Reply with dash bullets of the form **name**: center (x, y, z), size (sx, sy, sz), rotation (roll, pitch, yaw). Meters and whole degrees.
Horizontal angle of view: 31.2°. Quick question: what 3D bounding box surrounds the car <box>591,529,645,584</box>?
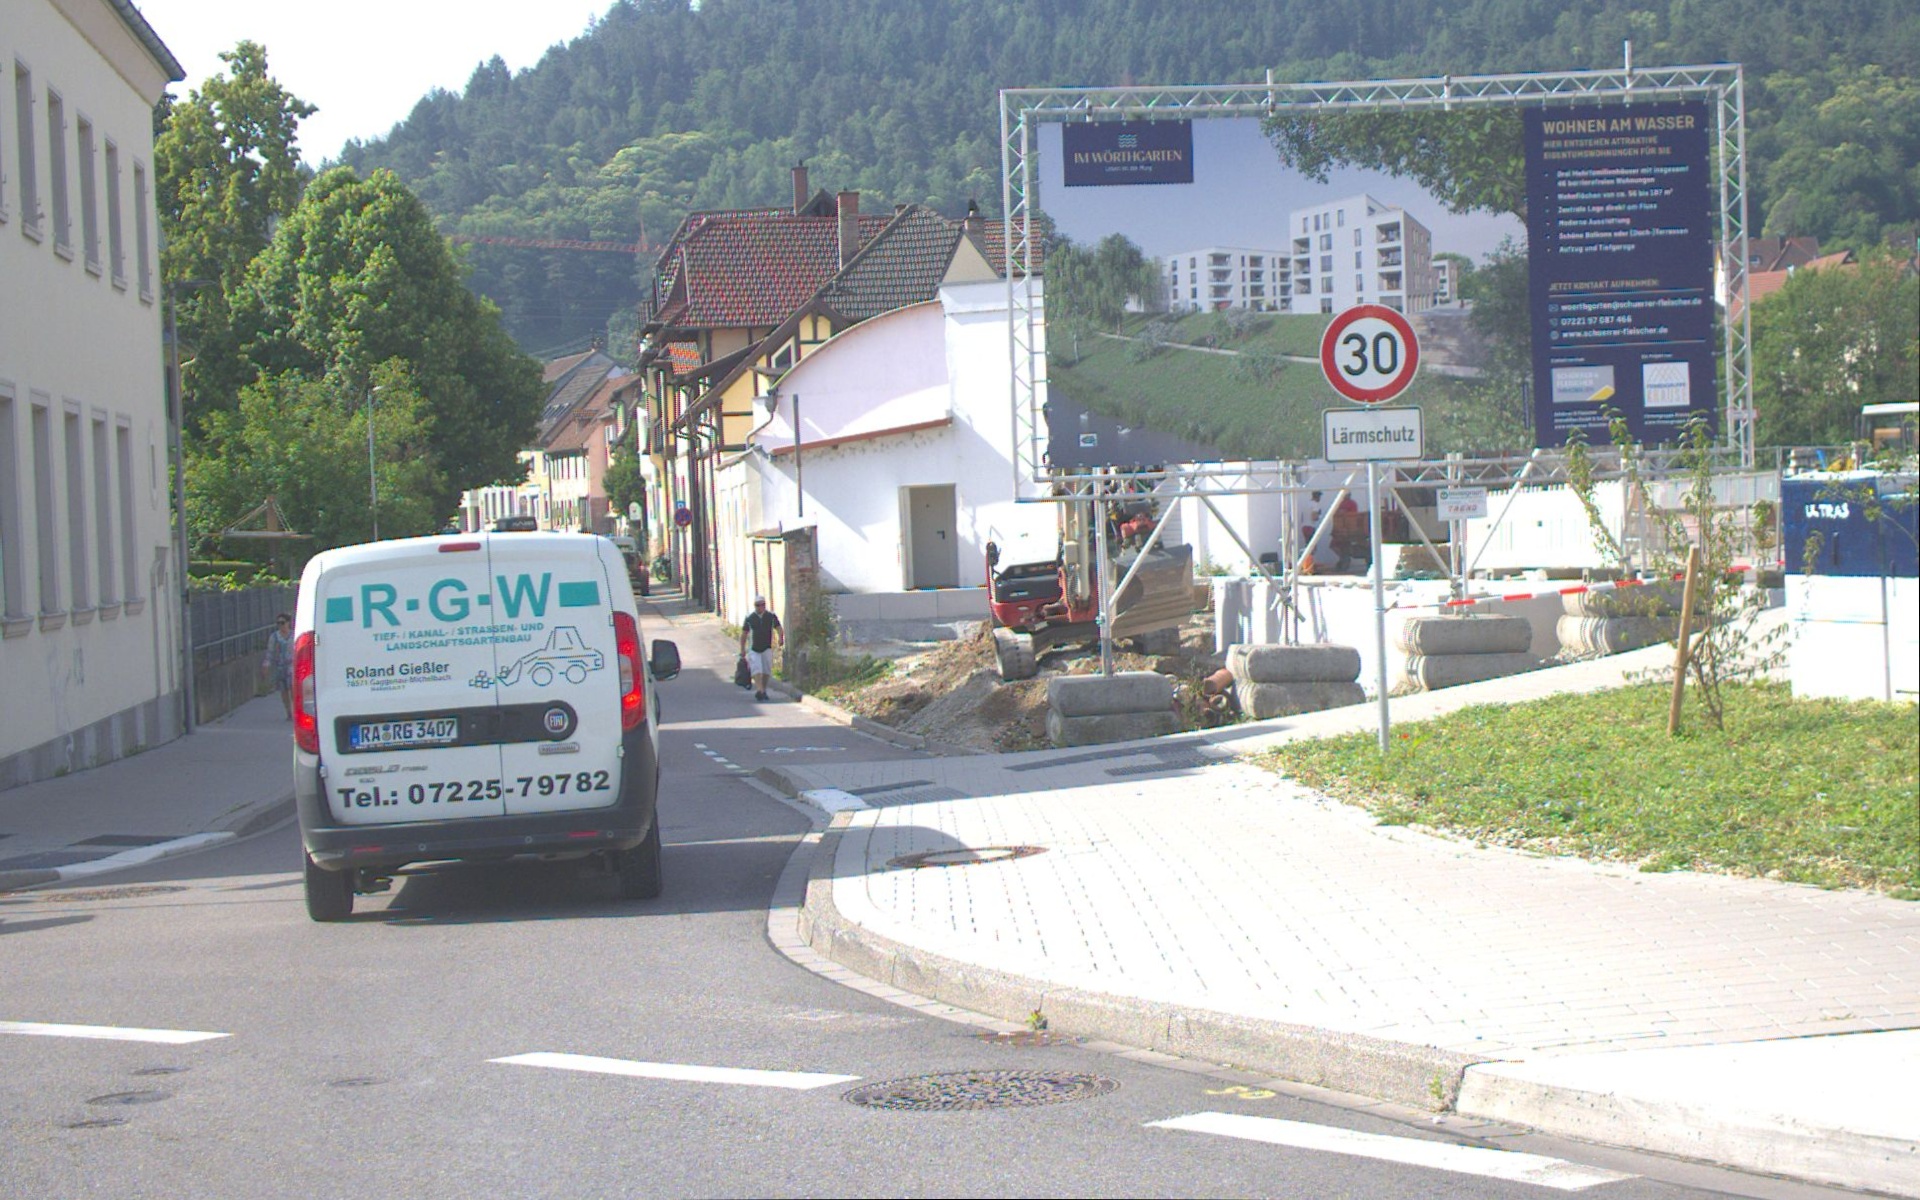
- **car**: center (-13.196, -1.707, 132.641), size (1.871, 2.006, 4.001), rotation (-2, 2, -7)

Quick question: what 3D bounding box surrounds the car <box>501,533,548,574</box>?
- **car**: center (-17.815, -1.924, 140.478), size (1.810, 1.591, 3.928), rotation (0, 2, -8)

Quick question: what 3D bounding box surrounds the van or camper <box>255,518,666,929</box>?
- **van or camper**: center (-2.553, 0.603, 18.340), size (1.828, 1.838, 4.189), rotation (-3, 0, -5)

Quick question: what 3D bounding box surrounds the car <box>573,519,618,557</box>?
- **car**: center (-15.787, -2.695, 148.860), size (1.669, 1.503, 4.001), rotation (-3, 2, -9)

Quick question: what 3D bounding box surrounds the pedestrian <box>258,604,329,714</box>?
- **pedestrian**: center (-10.135, 0.896, 52.325), size (0.957, 1.625, 0.758), rotation (-2, 1, -7)

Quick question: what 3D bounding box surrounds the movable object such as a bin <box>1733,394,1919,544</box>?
- **movable object such as a bin**: center (17.079, -2.499, 64.671), size (4.616, 2.560, 1.924), rotation (-4, 1, 19)

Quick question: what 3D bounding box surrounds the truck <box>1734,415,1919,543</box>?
- **truck**: center (18.172, -2.445, 67.852), size (5.319, 2.258, 2.217), rotation (-4, 1, 19)

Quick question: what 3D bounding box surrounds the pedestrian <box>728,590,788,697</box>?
- **pedestrian**: center (-3.218, 0.683, 54.834), size (0.888, 1.677, 0.718), rotation (-1, 0, -7)

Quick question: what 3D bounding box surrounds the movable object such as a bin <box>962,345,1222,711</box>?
- **movable object such as a bin**: center (1.393, -0.818, 40.037), size (2.295, 3.841, 7.799), rotation (0, 1, -3)

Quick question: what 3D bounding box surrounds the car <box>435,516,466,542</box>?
- **car**: center (-32.601, -4.548, 219.909), size (1.810, 1.591, 3.928), rotation (-1, 2, -11)

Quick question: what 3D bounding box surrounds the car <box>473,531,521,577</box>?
- **car**: center (-30.732, -3.045, 228.107), size (2.874, 2.826, 6.126), rotation (-3, 2, -9)

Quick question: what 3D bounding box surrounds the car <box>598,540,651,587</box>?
- **car**: center (-11.984, -1.303, 122.635), size (1.810, 1.591, 3.928), rotation (0, 2, -7)

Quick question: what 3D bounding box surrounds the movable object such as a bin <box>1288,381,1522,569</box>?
- **movable object such as a bin**: center (9.010, -2.506, 69.159), size (2.854, 3.609, 5.727), rotation (1, 2, 28)
